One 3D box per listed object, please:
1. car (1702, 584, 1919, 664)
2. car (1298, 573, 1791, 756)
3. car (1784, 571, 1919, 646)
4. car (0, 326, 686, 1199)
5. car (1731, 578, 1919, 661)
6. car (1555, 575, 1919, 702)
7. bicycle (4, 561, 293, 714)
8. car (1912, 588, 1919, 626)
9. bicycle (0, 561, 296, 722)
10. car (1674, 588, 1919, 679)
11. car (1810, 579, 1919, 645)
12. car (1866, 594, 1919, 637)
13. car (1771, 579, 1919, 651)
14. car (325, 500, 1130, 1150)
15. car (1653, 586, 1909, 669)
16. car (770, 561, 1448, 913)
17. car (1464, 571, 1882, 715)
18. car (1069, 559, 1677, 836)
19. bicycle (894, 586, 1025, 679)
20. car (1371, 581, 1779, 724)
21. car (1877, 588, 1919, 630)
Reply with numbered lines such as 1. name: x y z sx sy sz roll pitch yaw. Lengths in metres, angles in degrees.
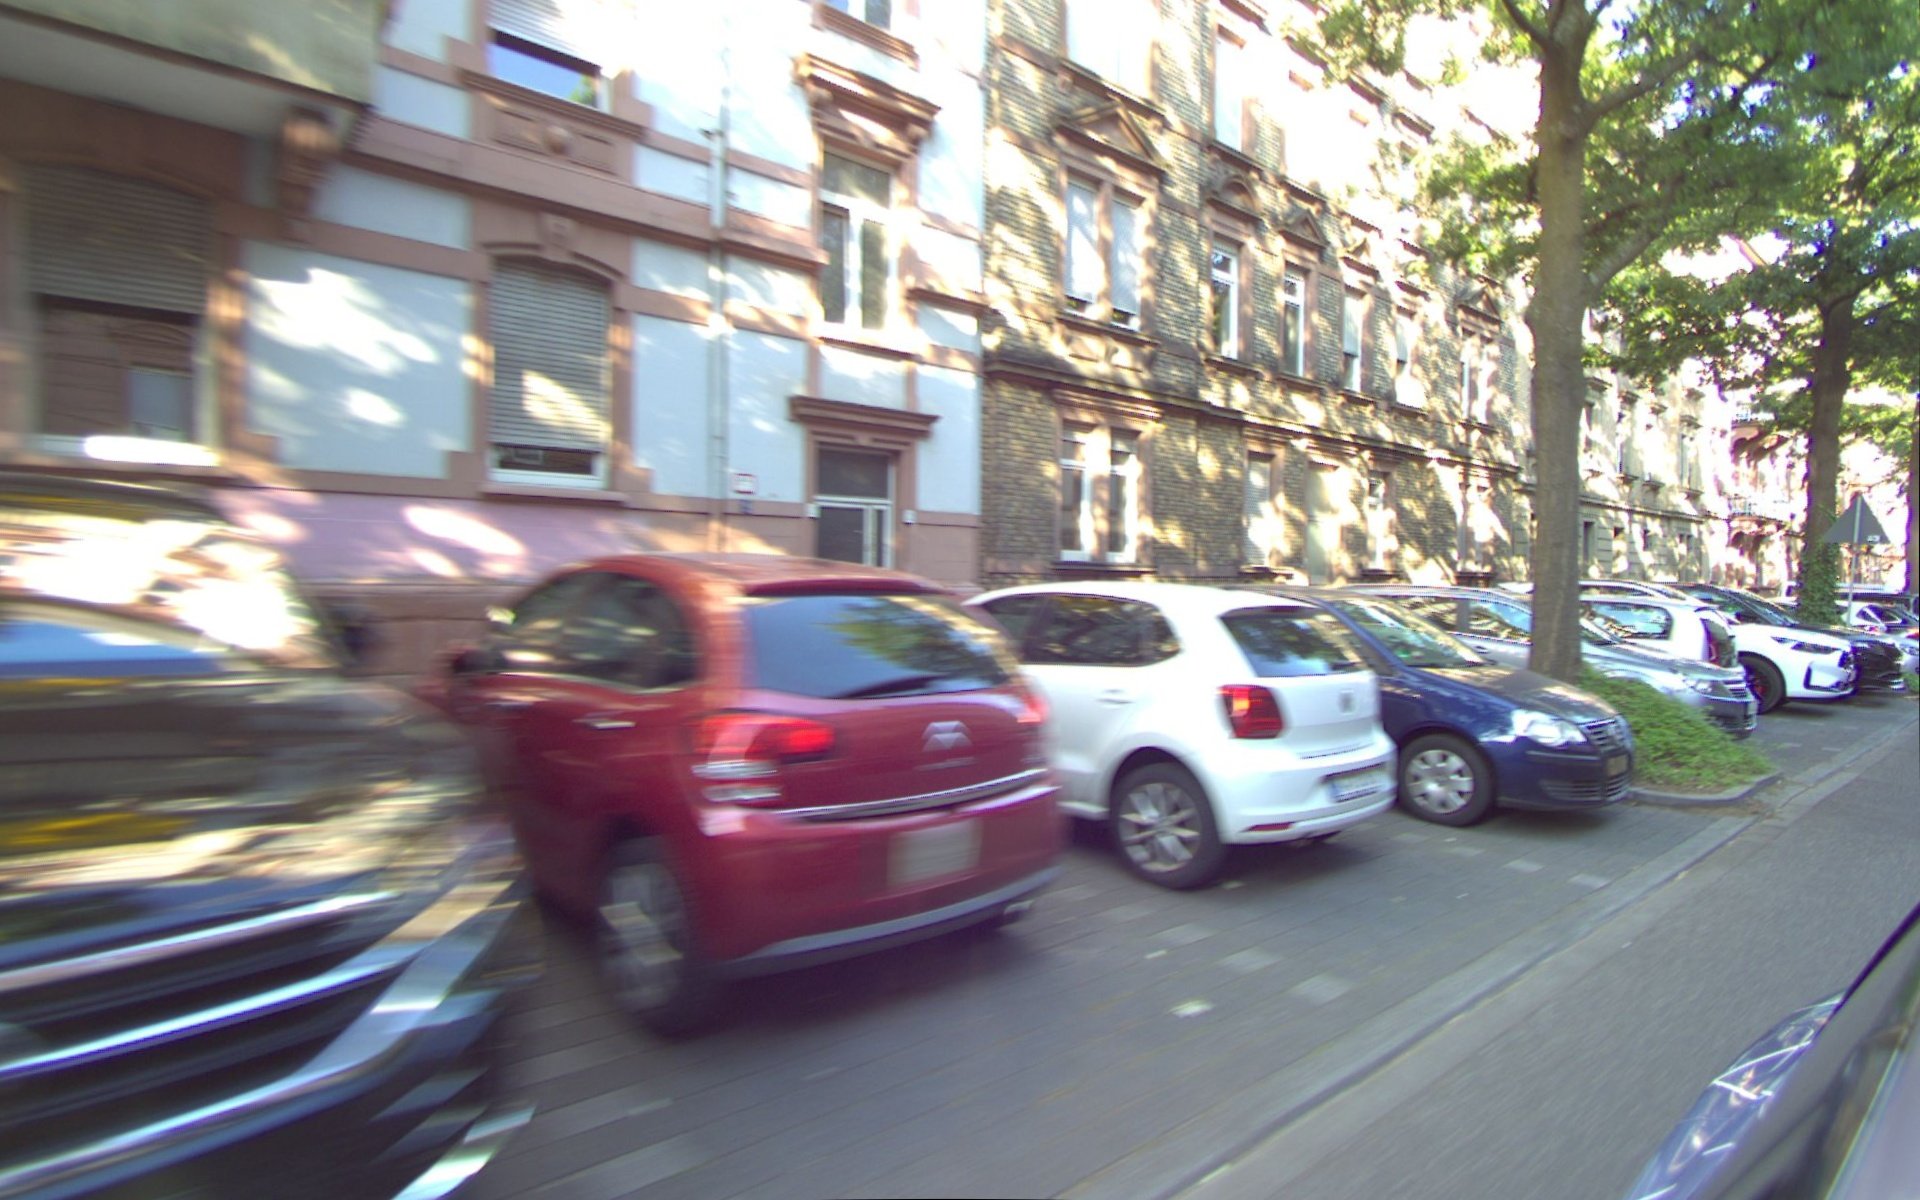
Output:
1. car: 19.261 0.484 22.457 1.903 1.473 4.153 0 3 -41
2. car: 6.014 0.514 10.804 1.771 1.555 4.227 1 1 -43
3. car: 26.977 0.279 28.989 2.140 1.924 4.927 0 4 -44
4. car: -2.800 0.391 2.946 1.850 1.723 4.650 0 3 -44
5. car: 21.441 0.420 24.433 1.910 1.811 4.136 0 1 -38
6. car: 12.158 0.456 15.917 1.858 1.676 4.487 -2 2 -38
7. bicycle: -6.067 0.260 7.665 1.672 1.064 0.325 0 1 -38
8. car: 45.300 0.456 45.135 1.707 1.702 3.846 1 4 -38
9. bicycle: -5.839 0.272 7.354 1.672 1.064 0.366 0 1 -38
10. car: 15.794 0.553 18.676 1.657 1.474 3.996 0 1 -40
11. car: 29.628 0.394 31.348 4.636 1.913 1.889 3 2 28
12. car: 34.329 0.623 34.801 1.868 1.384 4.471 1 3 -39
13. car: 24.816 0.436 26.784 2.044 1.652 4.927 0 4 -44
14. car: -1.386 0.495 4.564 1.753 1.610 3.991 0 2 -43
15. car: 17.101 0.494 21.218 1.659 1.513 3.991 0 1 -43
16. car: 0.653 0.528 6.368 1.753 1.480 3.991 0 2 -43
17. car: 9.745 0.442 14.151 1.859 1.676 4.483 -2 2 -41
18. car: 2.902 0.501 7.835 1.648 1.405 3.996 0 4 -41
19. bicycle: 0.030 0.373 12.513 0.404 1.059 1.918 2 1 44
20. car: 7.653 0.533 12.944 1.769 1.488 4.110 1 1 -39
21. car: 39.350 0.477 40.085 1.709 1.607 4.241 0 4 -42
